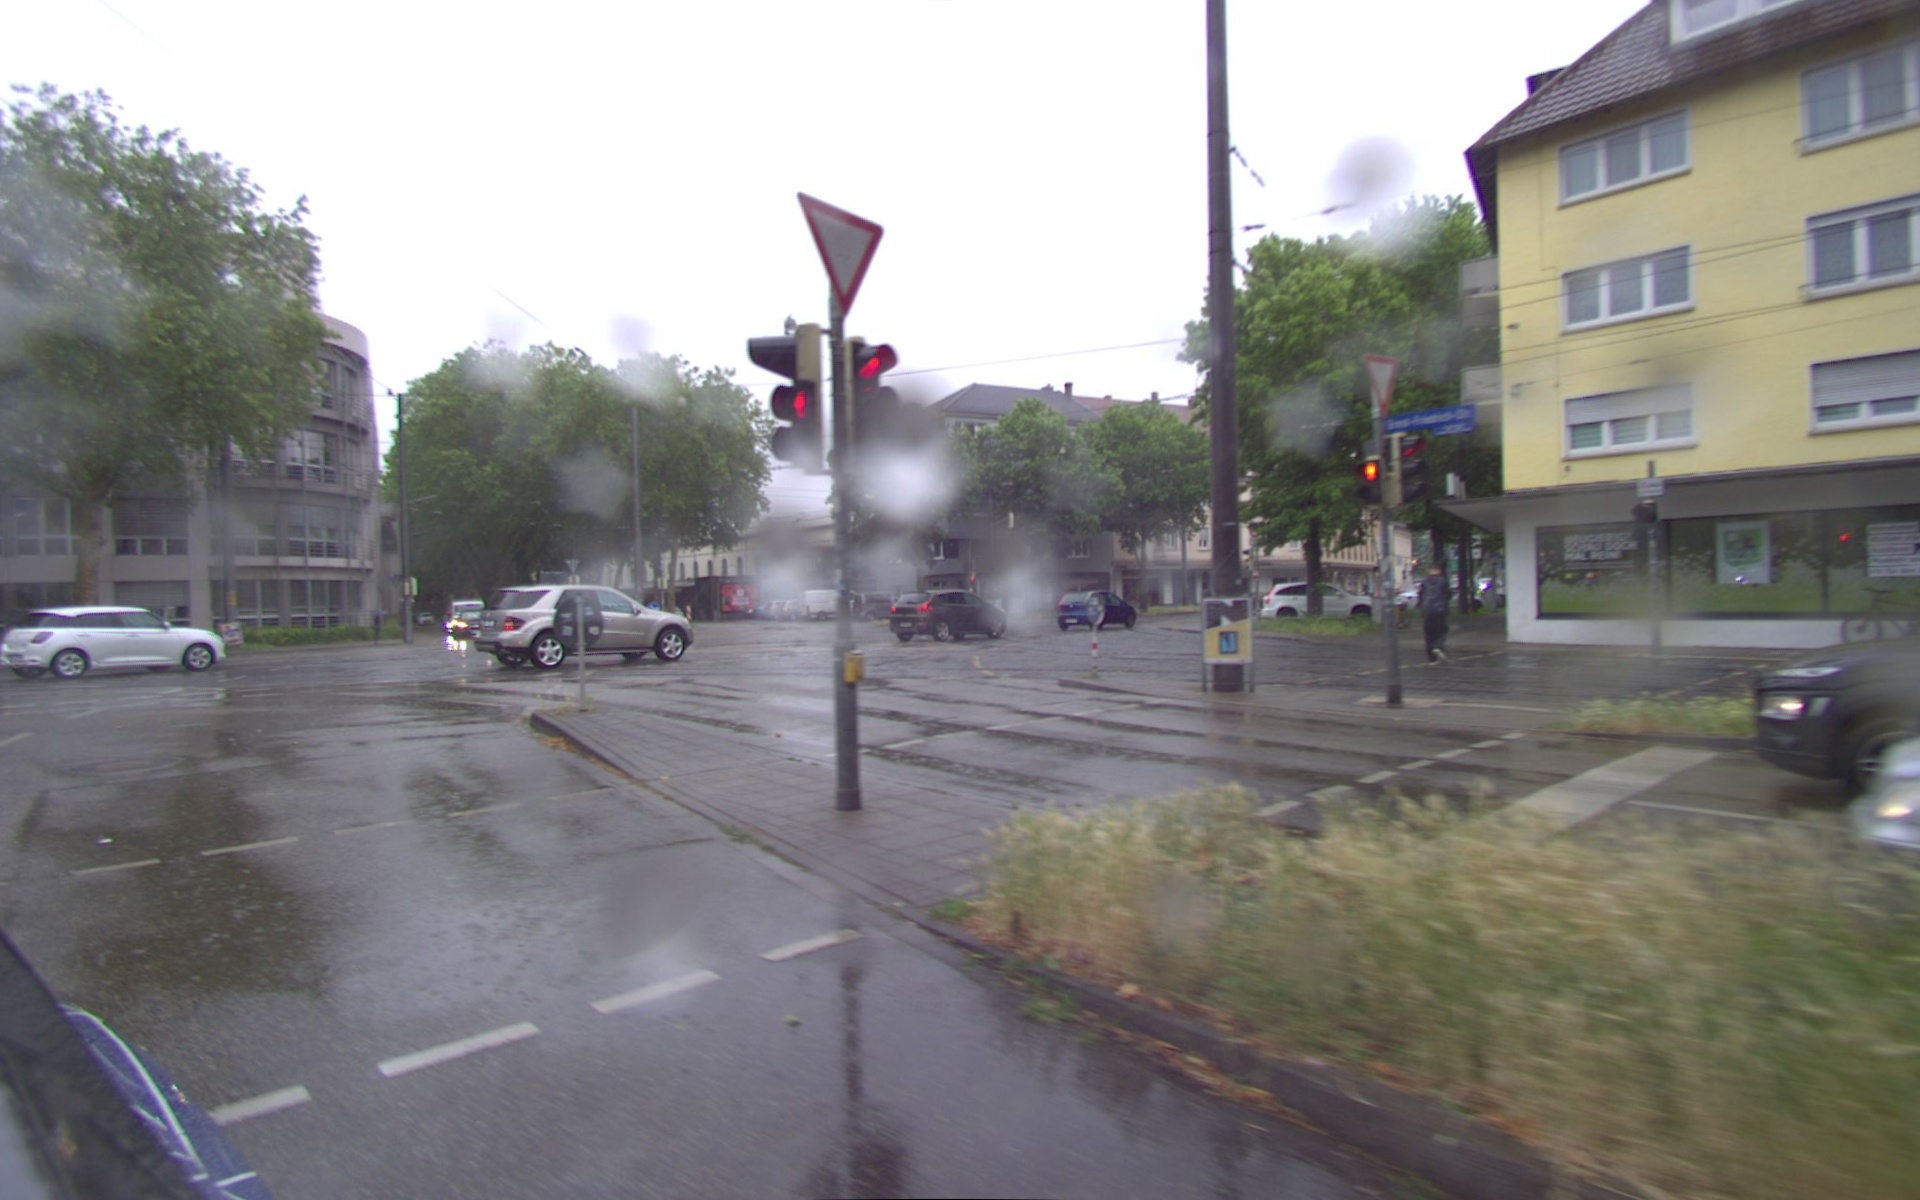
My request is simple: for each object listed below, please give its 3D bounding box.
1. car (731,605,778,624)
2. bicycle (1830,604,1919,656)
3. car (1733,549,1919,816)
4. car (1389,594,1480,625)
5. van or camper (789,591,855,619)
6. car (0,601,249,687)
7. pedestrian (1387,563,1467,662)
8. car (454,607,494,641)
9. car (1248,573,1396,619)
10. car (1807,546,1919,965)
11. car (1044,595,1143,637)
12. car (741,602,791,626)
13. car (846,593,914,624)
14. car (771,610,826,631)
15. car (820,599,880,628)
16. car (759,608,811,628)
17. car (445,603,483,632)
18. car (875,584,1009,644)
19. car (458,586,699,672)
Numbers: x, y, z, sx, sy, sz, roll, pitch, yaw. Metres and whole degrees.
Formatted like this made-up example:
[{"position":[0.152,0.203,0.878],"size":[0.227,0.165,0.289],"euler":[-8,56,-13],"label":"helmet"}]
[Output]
[{"position":[-19.205,1.375,94.597],"size":[3.930,1.668,1.792],"euler":[1,0,-25],"label":"car"},{"position":[16.841,0.521,17.955],"size":[0.604,0.903,2.049],"euler":[-1,0,-40],"label":"bicycle"},{"position":[7.020,0.422,5.486],"size":[4.286,1.513,1.852],"euler":[-2,0,44],"label":"car"},{"position":[25.589,0.505,54.690],"size":[3.948,1.625,1.998],"euler":[1,0,4],"label":"car"},{"position":[-10.535,0.385,77.505],"size":[4.576,2.091,2.006],"euler":[0,0,-32],"label":"van or camper"},{"position":[-18.264,0.886,22.177],"size":[1.798,1.599,4.038],"euler":[-1,1,26],"label":"car"},{"position":[8.191,0.207,17.771],"size":[0.999,1.690,0.817],"euler":[-1,0,-29],"label":"pedestrian"},{"position":[-27.868,1.341,58.127],"size":[1.772,1.785,4.013],"euler":[-3,1,-22],"label":"car"},{"position":[13.460,-0.134,37.718],"size":[4.965,1.485,1.982],"euler":[-2,0,28],"label":"car"},{"position":[5.344,0.496,2.695],"size":[1.713,1.500,4.507],"euler":[-2,0,-41],"label":"car"},{"position":[5.138,0.634,38.607],"size":[1.889,1.470,3.777],"euler":[0,-2,43],"label":"car"},{"position":[-17.016,1.193,88.657],"size":[3.931,1.943,2.007],"euler":[-1,1,-21],"label":"car"},{"position":[-5.624,0.551,71.063],"size":[4.321,2.029,2.074],"euler":[-1,1,-25],"label":"car"},{"position":[-13.143,1.641,82.206],"size":[3.931,1.626,2.006],"euler":[1,-1,-30],"label":"car"},{"position":[-8.225,1.004,75.853],"size":[3.936,2.029,2.004],"euler":[-2,1,-38],"label":"car"},{"position":[-14.936,1.554,86.323],"size":[3.931,1.626,2.006],"euler":[1,-1,-30],"label":"car"},{"position":[-31.356,1.081,63.965],"size":[1.970,1.785,4.013],"euler":[0,0,-29],"label":"car"},{"position":[-0.495,0.383,31.651],"size":[1.808,1.722,4.131],"euler":[0,1,44],"label":"car"},{"position":[-8.308,0.552,22.354],"size":[1.915,1.659,4.613],"euler":[0,1,43],"label":"car"}]
